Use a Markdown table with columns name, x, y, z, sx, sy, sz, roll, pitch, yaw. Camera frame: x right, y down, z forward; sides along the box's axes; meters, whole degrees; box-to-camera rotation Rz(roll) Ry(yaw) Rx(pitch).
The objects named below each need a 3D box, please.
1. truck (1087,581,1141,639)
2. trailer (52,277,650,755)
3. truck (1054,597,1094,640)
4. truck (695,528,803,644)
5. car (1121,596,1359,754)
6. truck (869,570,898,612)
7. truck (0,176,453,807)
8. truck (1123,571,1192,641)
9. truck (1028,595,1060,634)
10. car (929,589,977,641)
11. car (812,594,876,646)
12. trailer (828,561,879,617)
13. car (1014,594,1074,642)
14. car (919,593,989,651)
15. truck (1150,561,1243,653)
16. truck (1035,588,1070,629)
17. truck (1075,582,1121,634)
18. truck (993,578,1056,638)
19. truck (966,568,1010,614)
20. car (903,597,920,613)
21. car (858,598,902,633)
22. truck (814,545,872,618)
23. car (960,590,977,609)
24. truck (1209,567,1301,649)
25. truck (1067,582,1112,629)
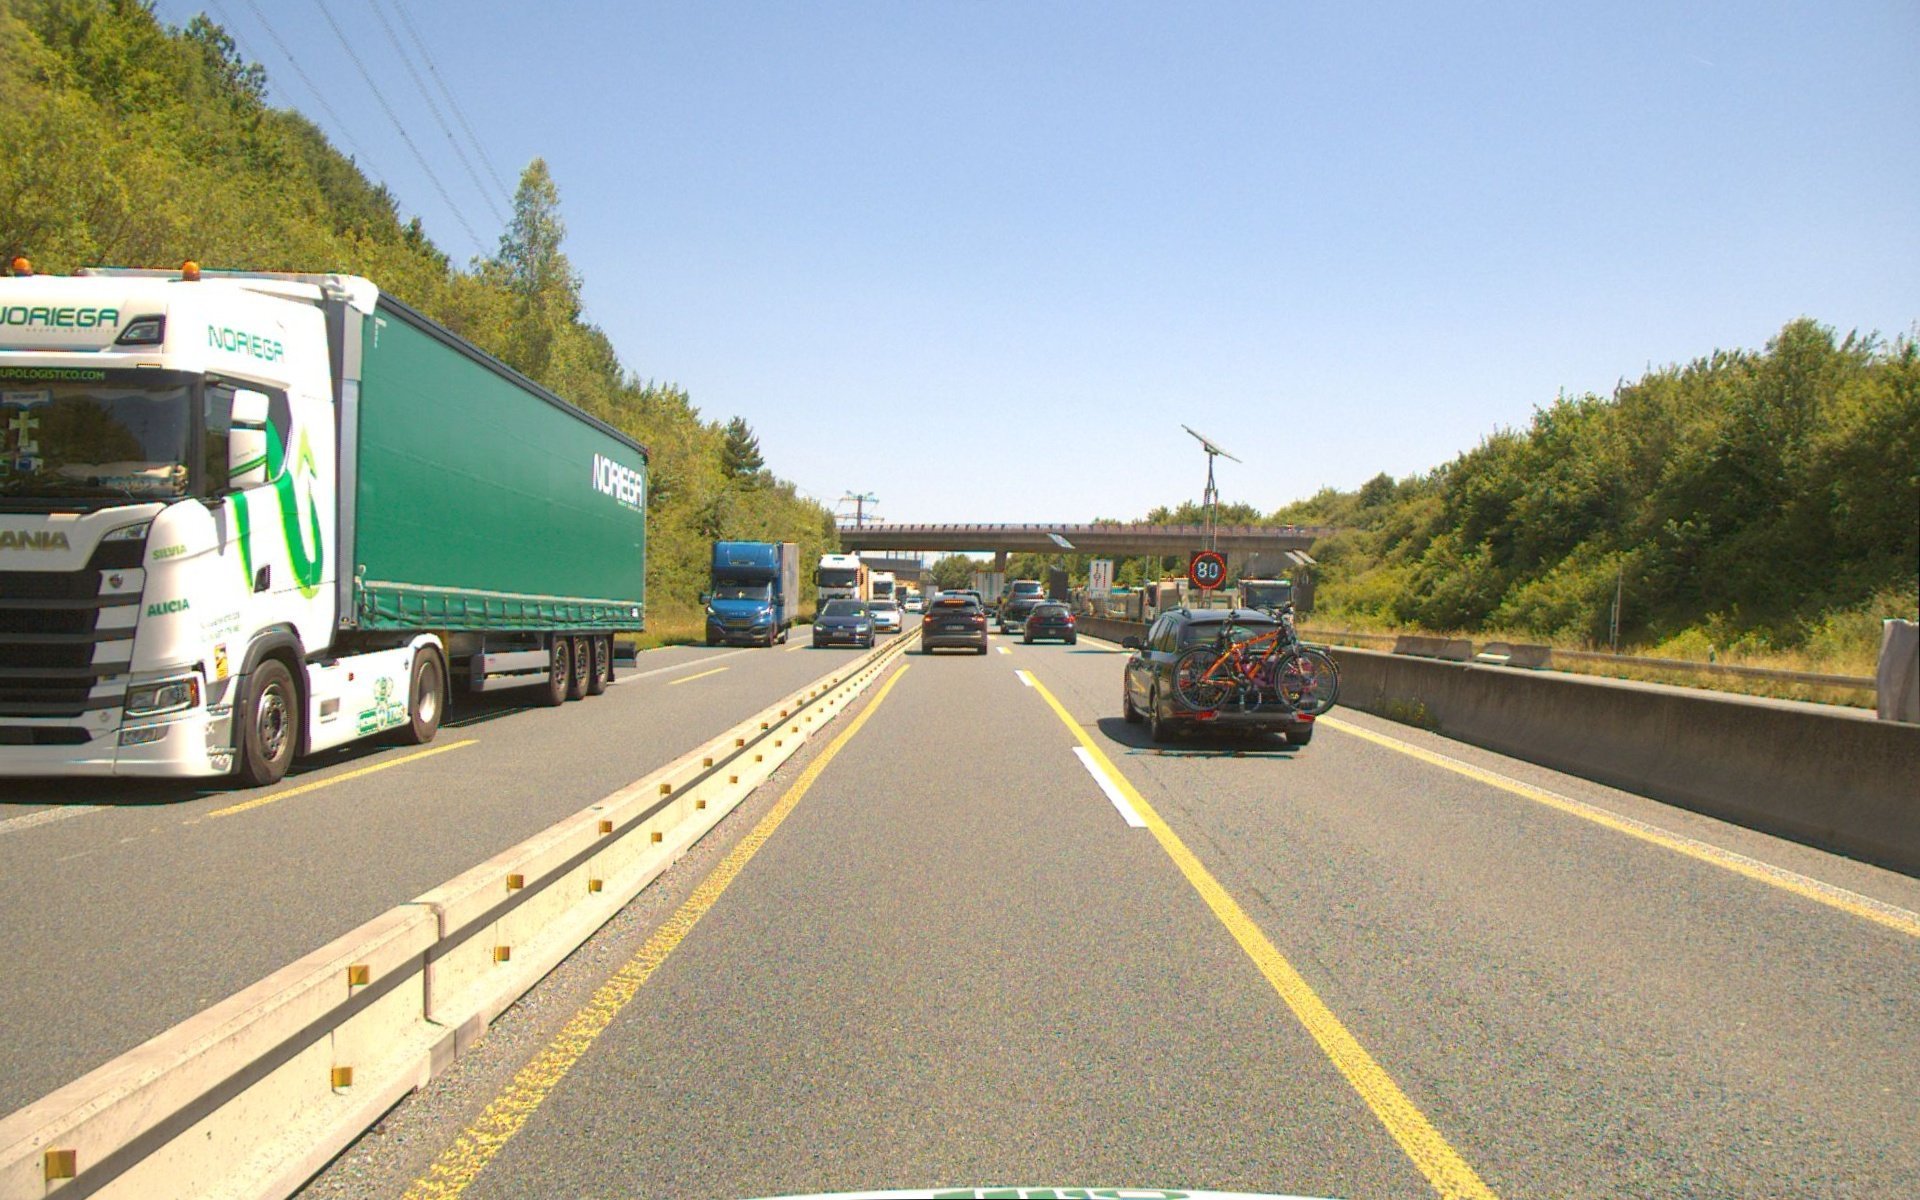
| name | x | y | z | sx | sy | sz | roll | pitch | yaw |
| --- | --- | --- | --- | --- | --- | --- | --- | --- | --- |
| truck | 10.139 | 0.635 | 109.843 | 2.632 | 3.619 | 9.601 | 1 | 0 | 0 |
| trailer | -6.649 | -0.751 | 21.340 | 2.832 | 4.197 | 13.242 | 1 | 0 | 0 |
| truck | 9.804 | 1.538 | 143.059 | 2.633 | 3.619 | 9.322 | 1 | 0 | -1 |
| truck | -6.594 | -0.434 | 52.614 | 2.356 | 3.388 | 7.500 | 1 | 0 | 0 |
| car | 2.992 | 0.758 | 18.726 | 1.860 | 1.516 | 4.947 | 1 | 0 | 0 |
| truck | -7.604 | -0.875 | 165.053 | 2.360 | 4.062 | 10.351 | 2 | 0 | 0 |
| truck | -6.627 | -0.729 | 13.997 | 2.835 | 4.190 | 6.019 | 0 | 0 | 0 |
| truck | 10.822 | 0.308 | 91.383 | 2.487 | 3.619 | 9.601 | 1 | 0 | -1 |
| truck | 8.732 | 1.504 | 172.424 | 2.633 | 3.923 | 9.323 | 1 | 0 | -1 |
| car | -0.275 | 0.597 | 67.283 | 1.860 | 2.003 | 4.276 | 1 | 0 | 0 |
| car | -3.526 | 0.604 | 50.951 | 1.725 | 1.516 | 4.400 | 1 | 0 | -1 |
| trailer | -6.910 | -0.713 | 108.765 | 2.596 | 3.394 | 8.919 | 2 | 0 | 0 |
| car | 2.930 | 0.610 | 58.579 | 1.860 | 1.613 | 4.275 | 1 | 0 | -1 |
| car | -0.149 | 0.593 | 46.341 | 1.860 | 1.531 | 4.276 | 1 | 0 | 0 |
| truck | 9.752 | 0.278 | 69.063 | 2.481 | 3.572 | 9.095 | 1 | 0 | -1 |
| truck | 8.966 | 0.801 | 161.207 | 2.633 | 3.826 | 9.323 | 1 | 0 | -1 |
| truck | 10.030 | 0.572 | 121.218 | 2.632 | 3.619 | 9.406 | 1 | 0 | 1 |
| truck | 2.925 | 0.338 | 76.766 | 2.357 | 2.603 | 7.498 | 1 | 0 | -2 |
| truck | 2.439 | -0.753 | 146.129 | 3.226 | 3.912 | 10.104 | 1 | 0 | -3 |
| car | -5.266 | 0.547 | 179.141 | 1.787 | 1.659 | 4.150 | 1 | 0 | -1 |
| car | -3.554 | 0.676 | 73.933 | 1.804 | 1.516 | 4.510 | 0 | 0 | -1 |
| truck | -6.952 | -1.048 | 99.490 | 2.595 | 4.061 | 9.650 | 2 | 0 | 0 |
| car | 0.925 | -0.031 | 180.775 | 1.860 | 2.003 | 4.276 | 1 | 0 | 0 |
| truck | 13.593 | 0.337 | 76.831 | 2.632 | 3.572 | 8.379 | 1 | 0 | -1 |
| truck | 10.431 | 0.405 | 133.690 | 2.633 | 3.619 | 9.322 | 1 | 0 | -1 |
